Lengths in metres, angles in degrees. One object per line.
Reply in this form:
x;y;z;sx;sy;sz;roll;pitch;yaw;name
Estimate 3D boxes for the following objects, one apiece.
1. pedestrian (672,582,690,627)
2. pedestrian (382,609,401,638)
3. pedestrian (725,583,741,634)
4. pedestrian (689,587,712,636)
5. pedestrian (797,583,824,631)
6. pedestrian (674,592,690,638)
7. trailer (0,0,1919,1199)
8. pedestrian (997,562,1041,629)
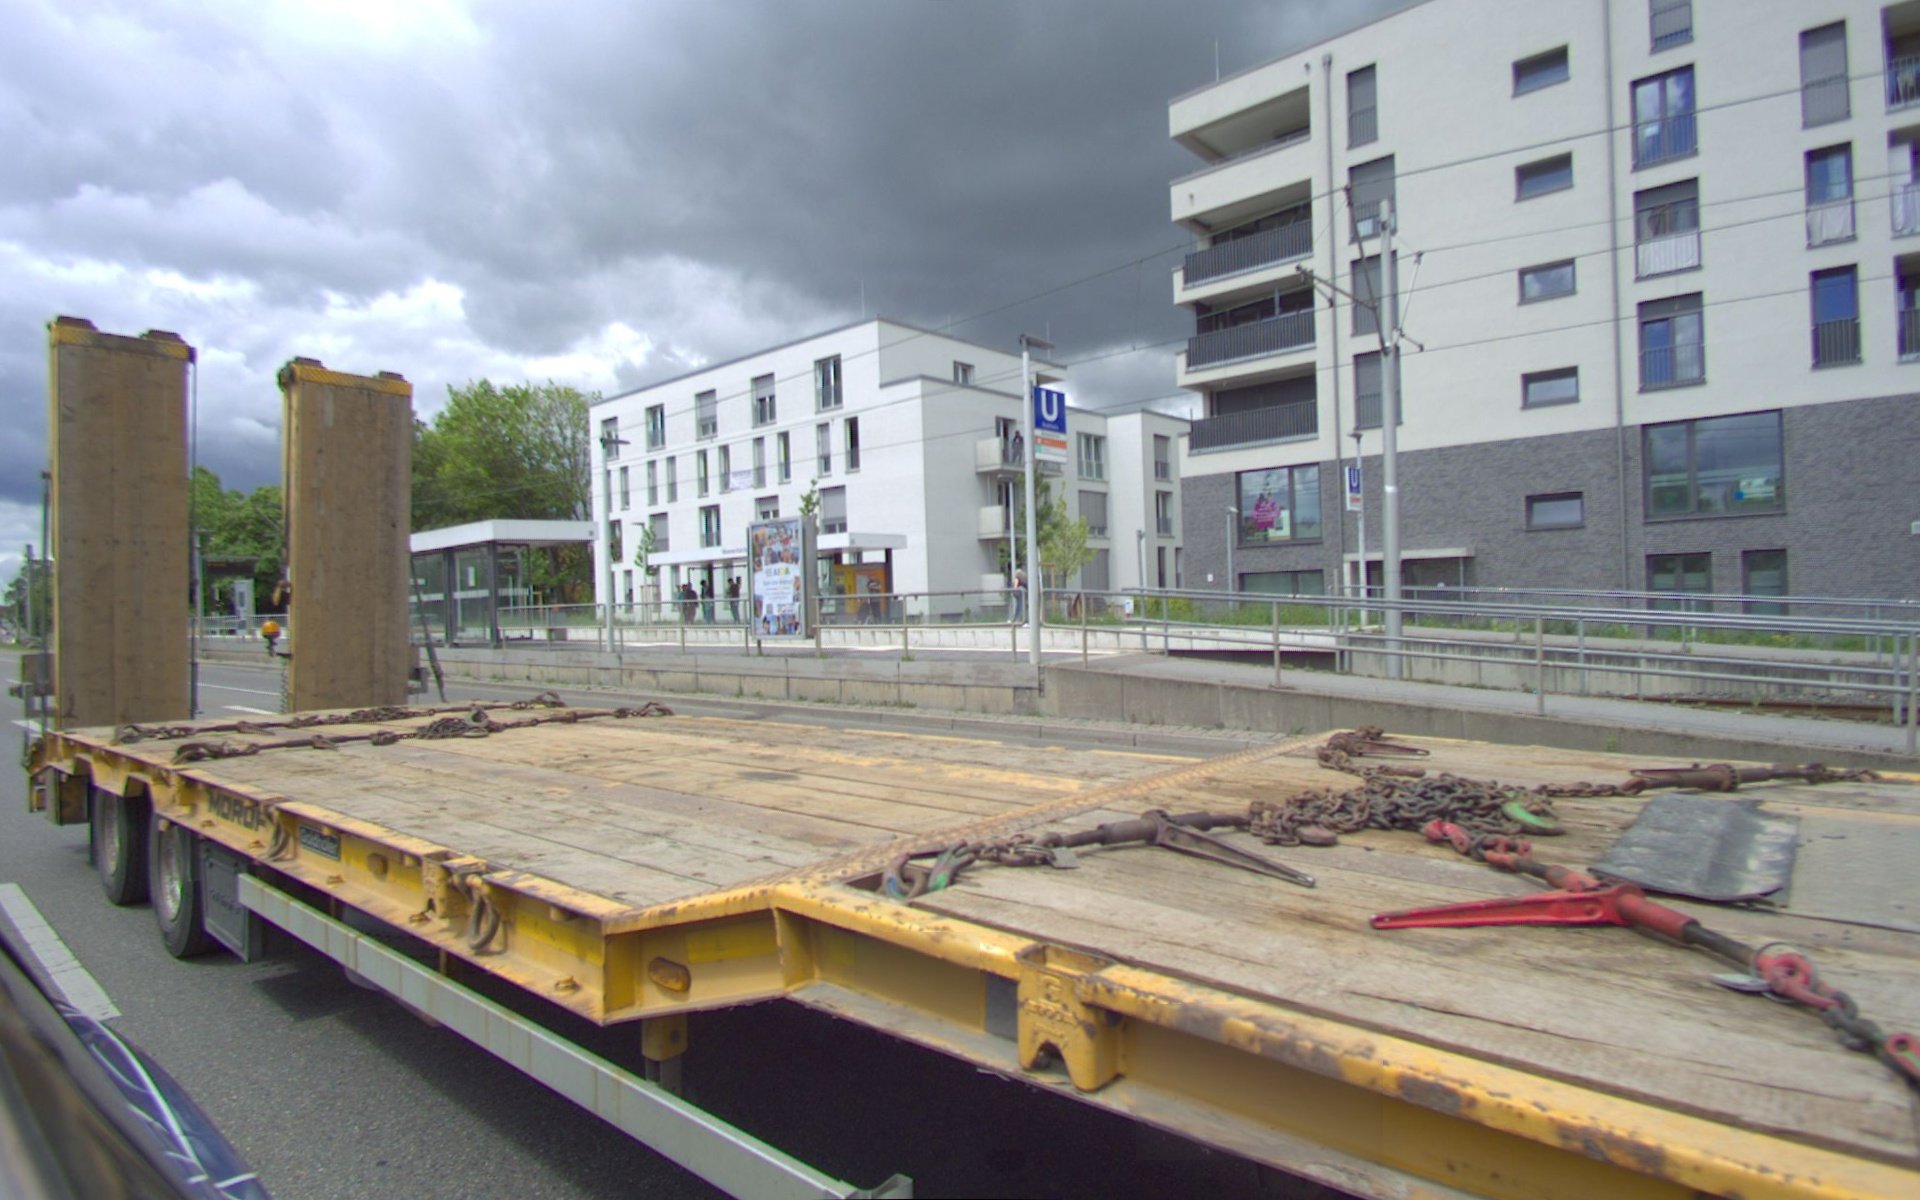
-10.169;0.154;36.927;0.481;1.609;0.678;-2;-1;-6;pedestrian
-31.301;1.295;55.722;0.546;1.542;0.734;-2;-1;37;pedestrian
-8.003;0.295;35.711;0.481;1.779;0.679;-2;-1;-15;pedestrian
-9.463;0.419;36.915;0.669;1.738;0.488;-2;-1;7;pedestrian
-4.947;0.225;33.446;0.677;1.566;0.555;-2;-1;43;pedestrian
-9.854;0.517;35.903;0.481;1.609;0.679;-2;-1;-15;pedestrian
-1.748;-0.330;4.496;11.247;3.585;2.701;-2;-1;41;trailer
1.611;-0.106;27.544;0.933;1.779;0.669;-2;-1;39;pedestrian
